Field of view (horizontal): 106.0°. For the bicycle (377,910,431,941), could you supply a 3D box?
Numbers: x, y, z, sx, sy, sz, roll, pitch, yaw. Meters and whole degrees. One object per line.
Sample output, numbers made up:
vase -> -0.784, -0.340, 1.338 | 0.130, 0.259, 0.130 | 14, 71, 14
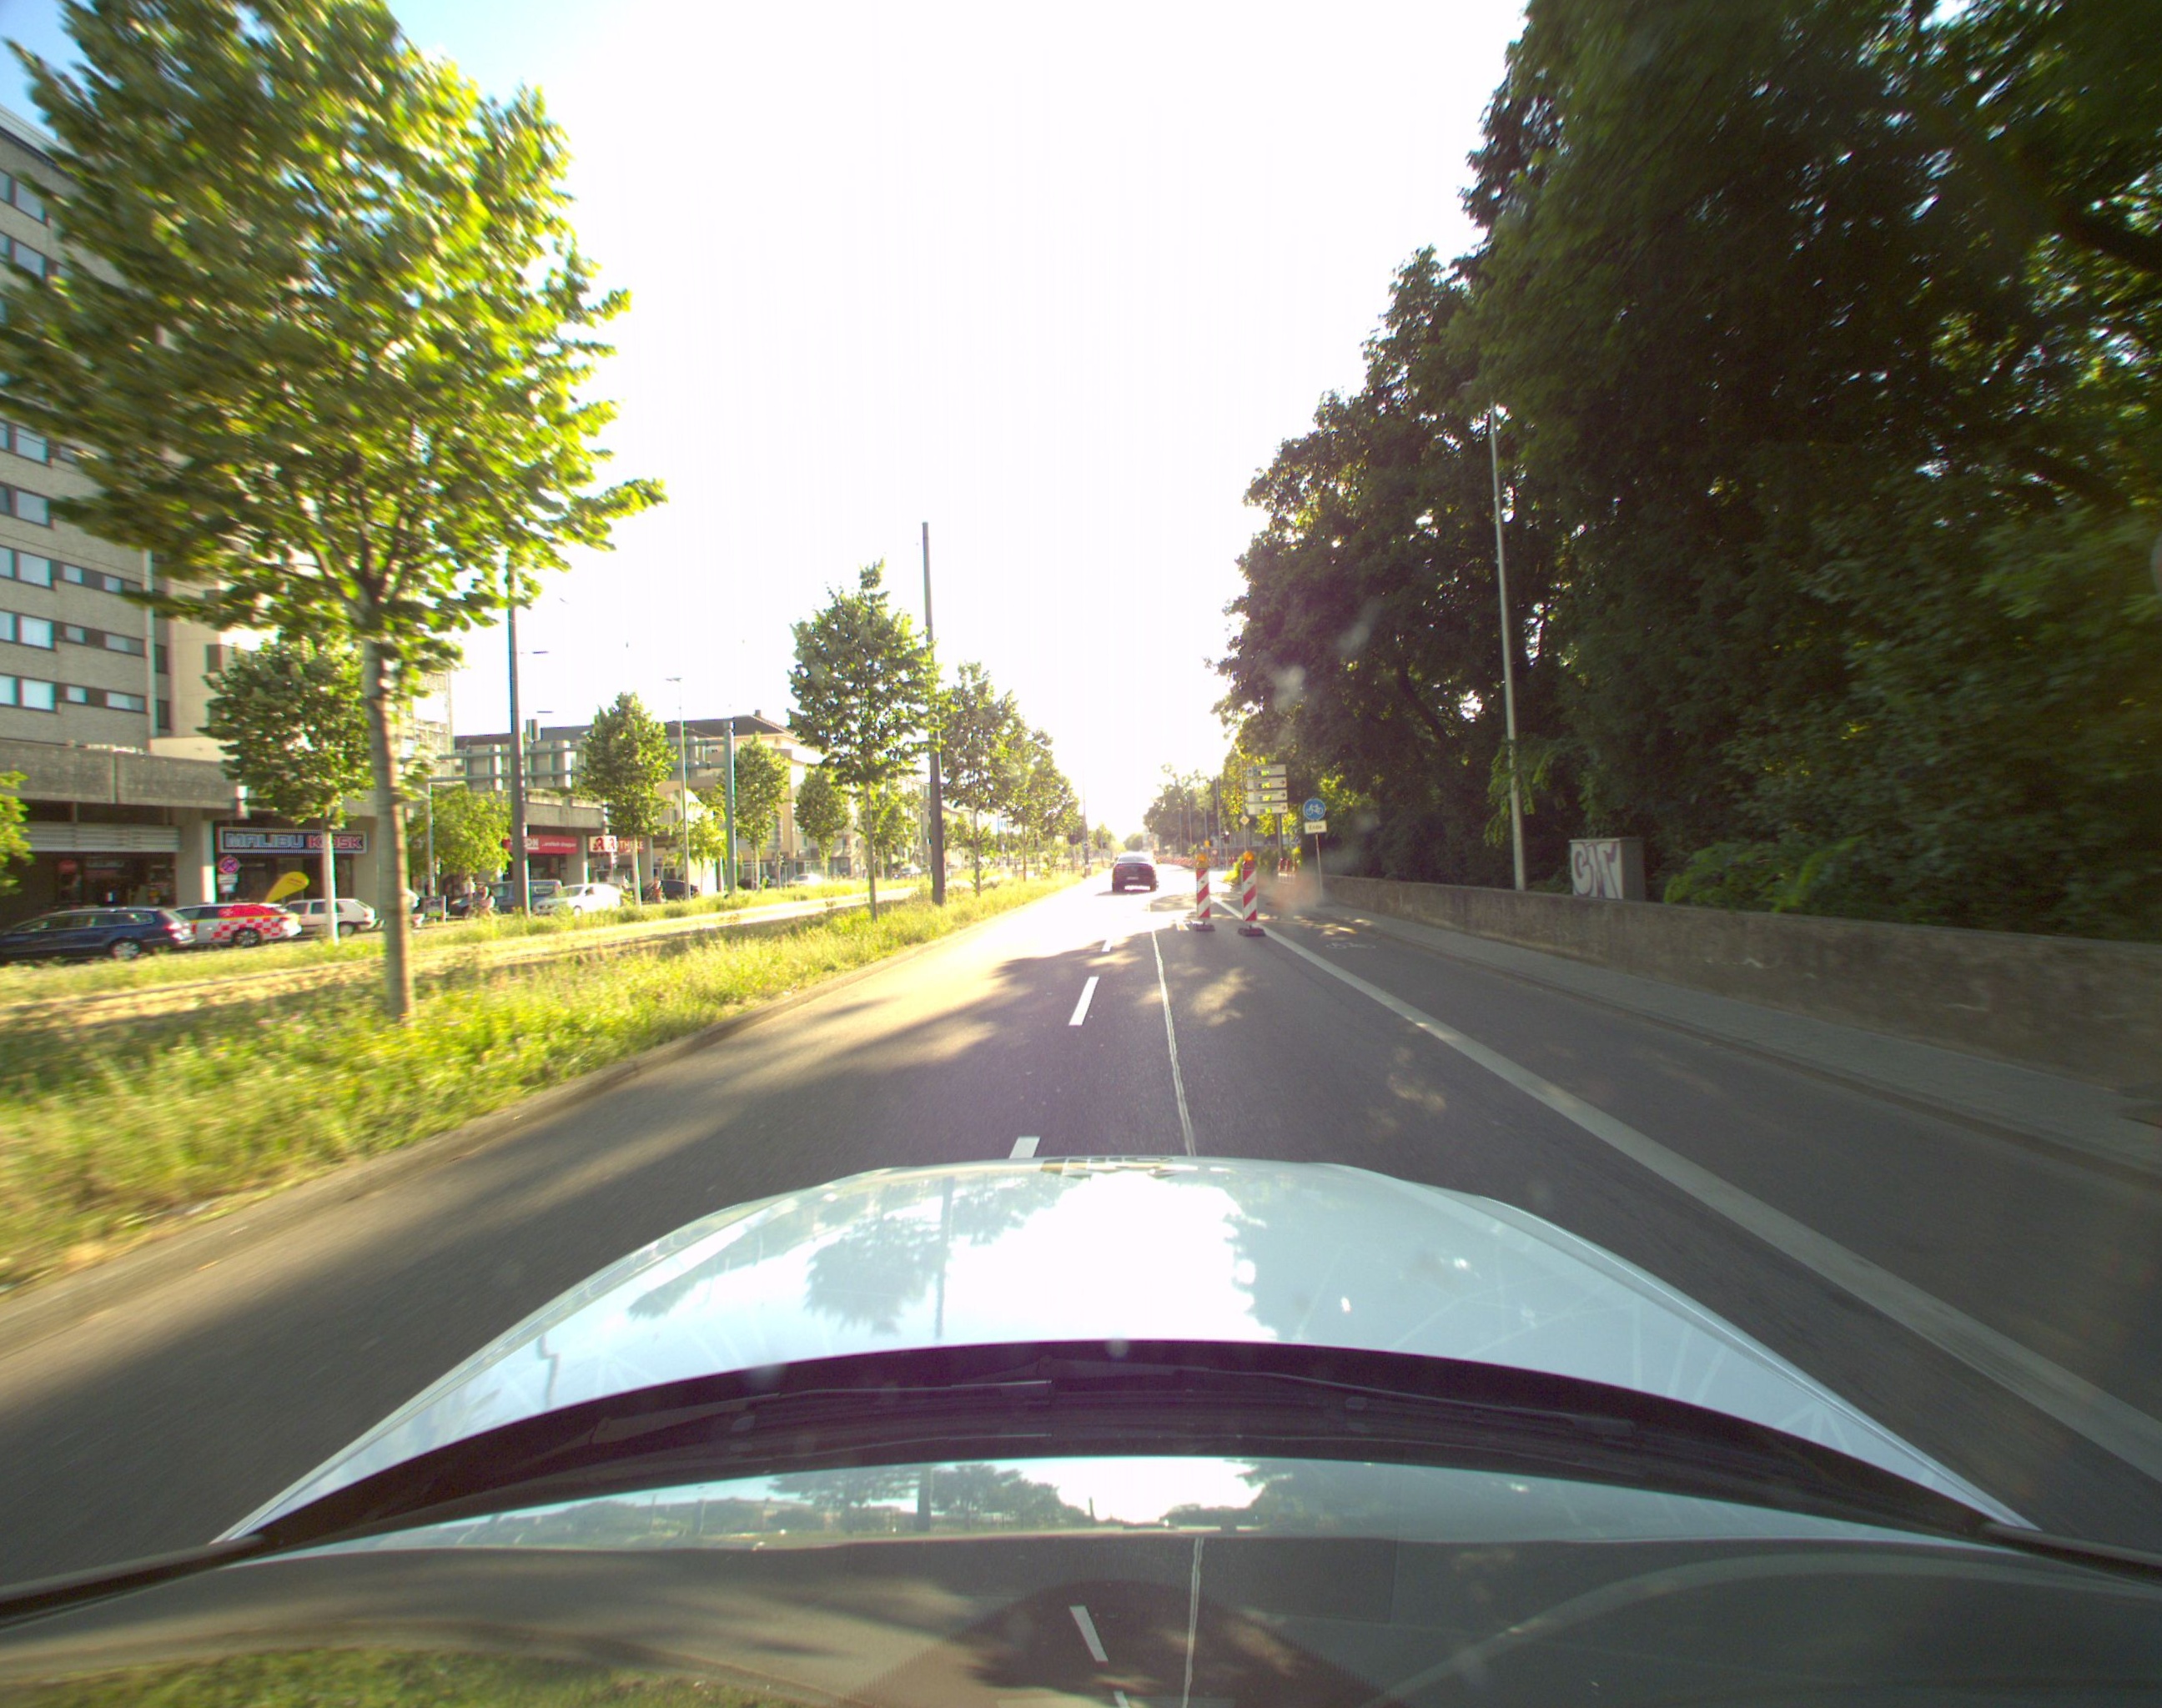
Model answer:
bicycle -> -25.450, 2.663, 30.630 | 0.542, 0.993, 1.712 | -1, 0, 2

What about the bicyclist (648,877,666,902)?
bicyclist -> -24.195, 2.018, 46.449 | 0.590, 1.355, 0.760 | -1, 0, 1

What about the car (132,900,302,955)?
car -> -28.708, 2.407, 27.228 | 3.642, 1.523, 1.603 | 0, -1, -37

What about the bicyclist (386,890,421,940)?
bicyclist -> -25.462, 2.275, 30.606 | 0.538, 1.788, 0.858 | -1, 0, 1

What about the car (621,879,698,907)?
car -> -26.804, 2.454, 51.823 | 4.019, 1.563, 1.977 | -1, 0, -38

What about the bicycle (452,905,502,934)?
bicycle -> -24.398, 2.630, 32.920 | 0.552, 1.040, 1.793 | -1, 0, 5

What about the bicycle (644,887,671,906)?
bicycle -> -24.183, 2.436, 46.499 | 0.604, 0.963, 1.718 | -1, 0, 2

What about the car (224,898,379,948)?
car -> -28.677, 2.480, 30.088 | 4.023, 1.453, 1.764 | -1, 0, -44

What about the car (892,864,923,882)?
car -> -17.263, 1.855, 81.205 | 1.876, 1.640, 4.004 | -3, 0, 4

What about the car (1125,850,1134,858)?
car -> 10.549, -0.051, 177.986 | 1.878, 1.580, 4.004 | -2, 0, 3

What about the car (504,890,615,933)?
car -> -22.258, 2.407, 34.951 | 1.876, 1.514, 4.007 | -2, 0, 6

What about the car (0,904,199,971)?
car -> -28.933, 2.383, 23.726 | 4.115, 1.601, 1.730 | 0, 0, -37

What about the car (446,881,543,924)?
car -> -28.570, 2.303, 39.780 | 3.775, 1.829, 1.805 | -1, 0, -36

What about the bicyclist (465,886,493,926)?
bicyclist -> -24.402, 2.093, 33.020 | 0.549, 1.544, 0.683 | -1, 0, 5

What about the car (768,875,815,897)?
car -> -21.014, 2.287, 59.251 | 1.926, 1.397, 3.689 | -3, 0, 2

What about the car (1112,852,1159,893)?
car -> 2.492, 0.817, 37.534 | 1.985, 1.734, 4.003 | -2, 0, 3
